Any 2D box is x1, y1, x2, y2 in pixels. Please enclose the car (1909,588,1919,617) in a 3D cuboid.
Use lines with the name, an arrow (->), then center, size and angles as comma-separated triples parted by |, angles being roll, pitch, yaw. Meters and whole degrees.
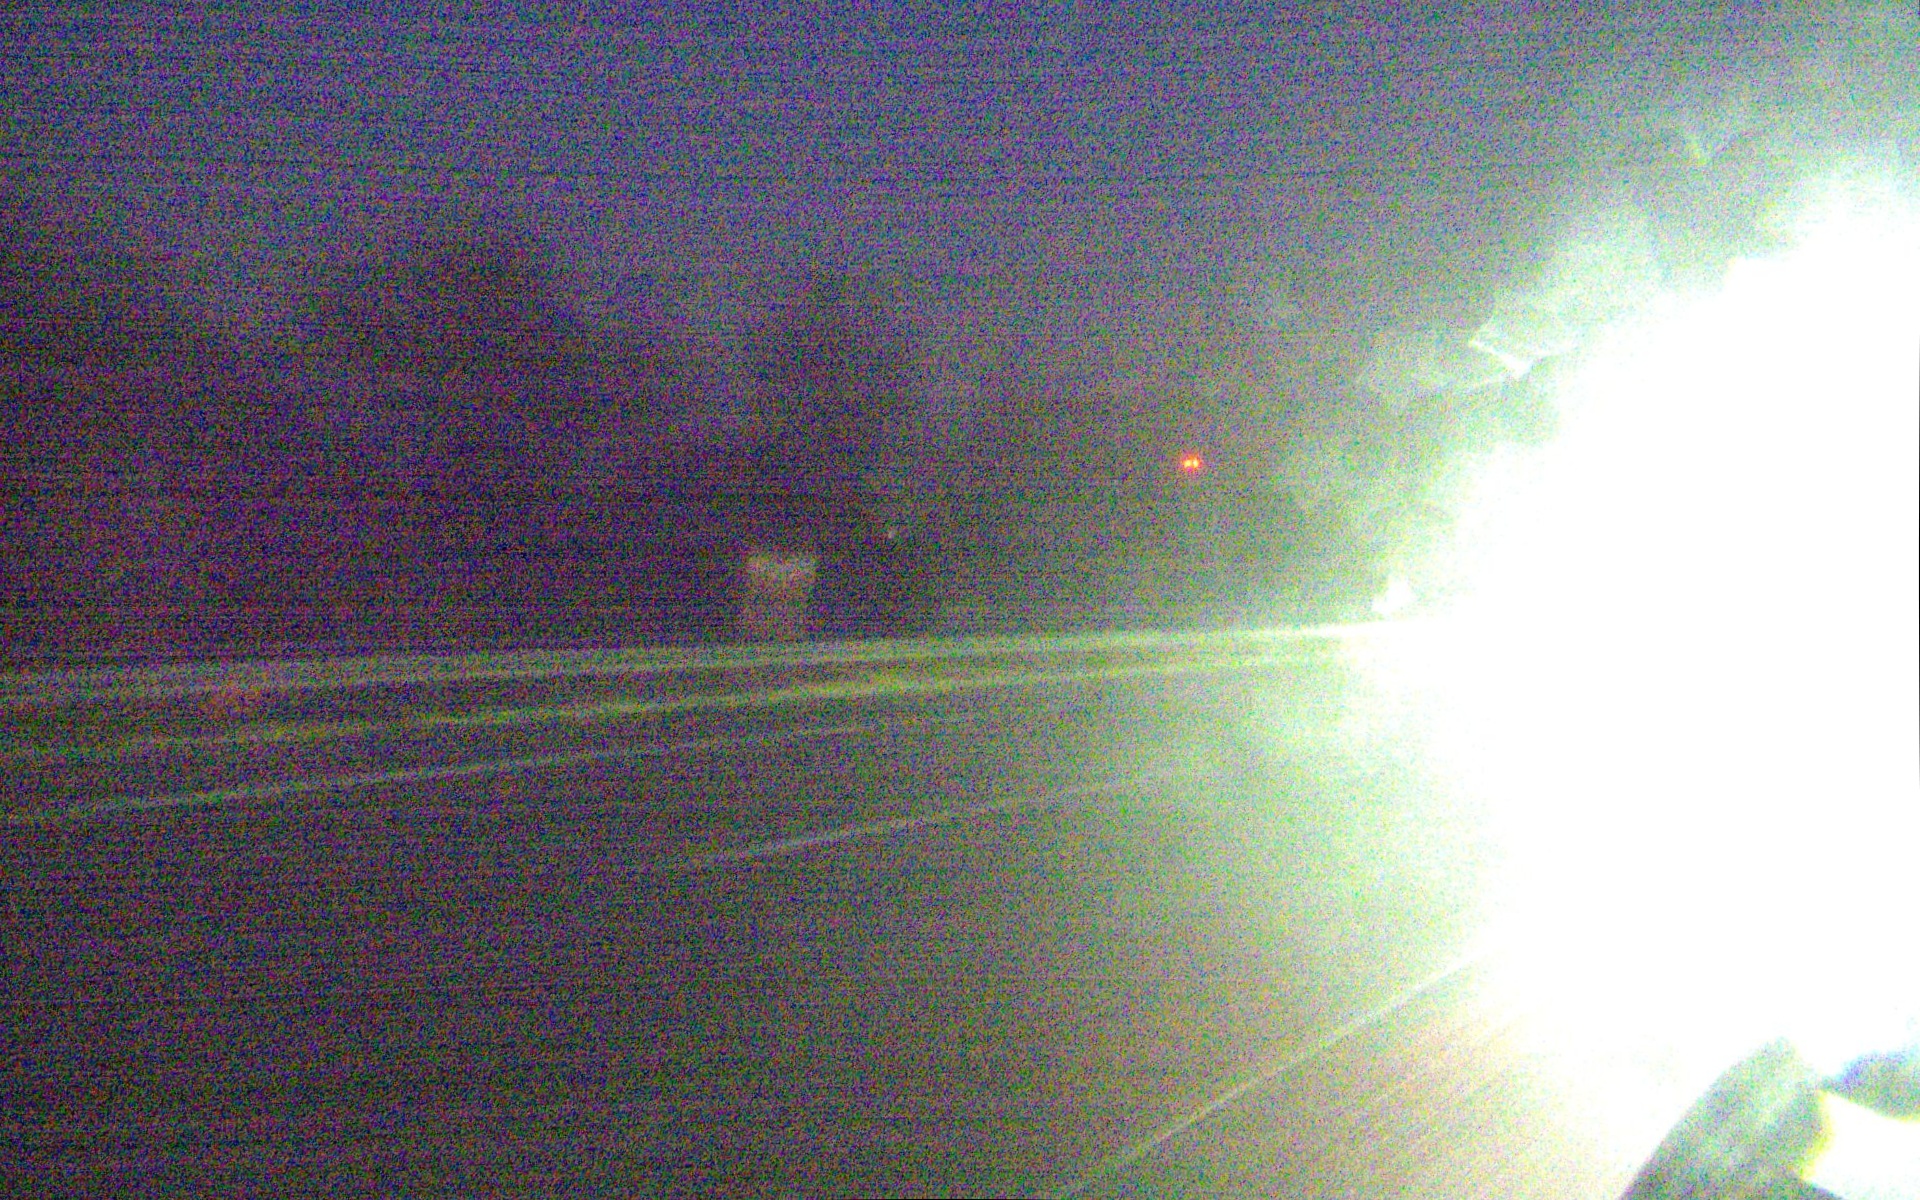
car -> 55.645, 0.144, 57.478 | 4.570, 1.619, 1.998 | -1, 1, -40
